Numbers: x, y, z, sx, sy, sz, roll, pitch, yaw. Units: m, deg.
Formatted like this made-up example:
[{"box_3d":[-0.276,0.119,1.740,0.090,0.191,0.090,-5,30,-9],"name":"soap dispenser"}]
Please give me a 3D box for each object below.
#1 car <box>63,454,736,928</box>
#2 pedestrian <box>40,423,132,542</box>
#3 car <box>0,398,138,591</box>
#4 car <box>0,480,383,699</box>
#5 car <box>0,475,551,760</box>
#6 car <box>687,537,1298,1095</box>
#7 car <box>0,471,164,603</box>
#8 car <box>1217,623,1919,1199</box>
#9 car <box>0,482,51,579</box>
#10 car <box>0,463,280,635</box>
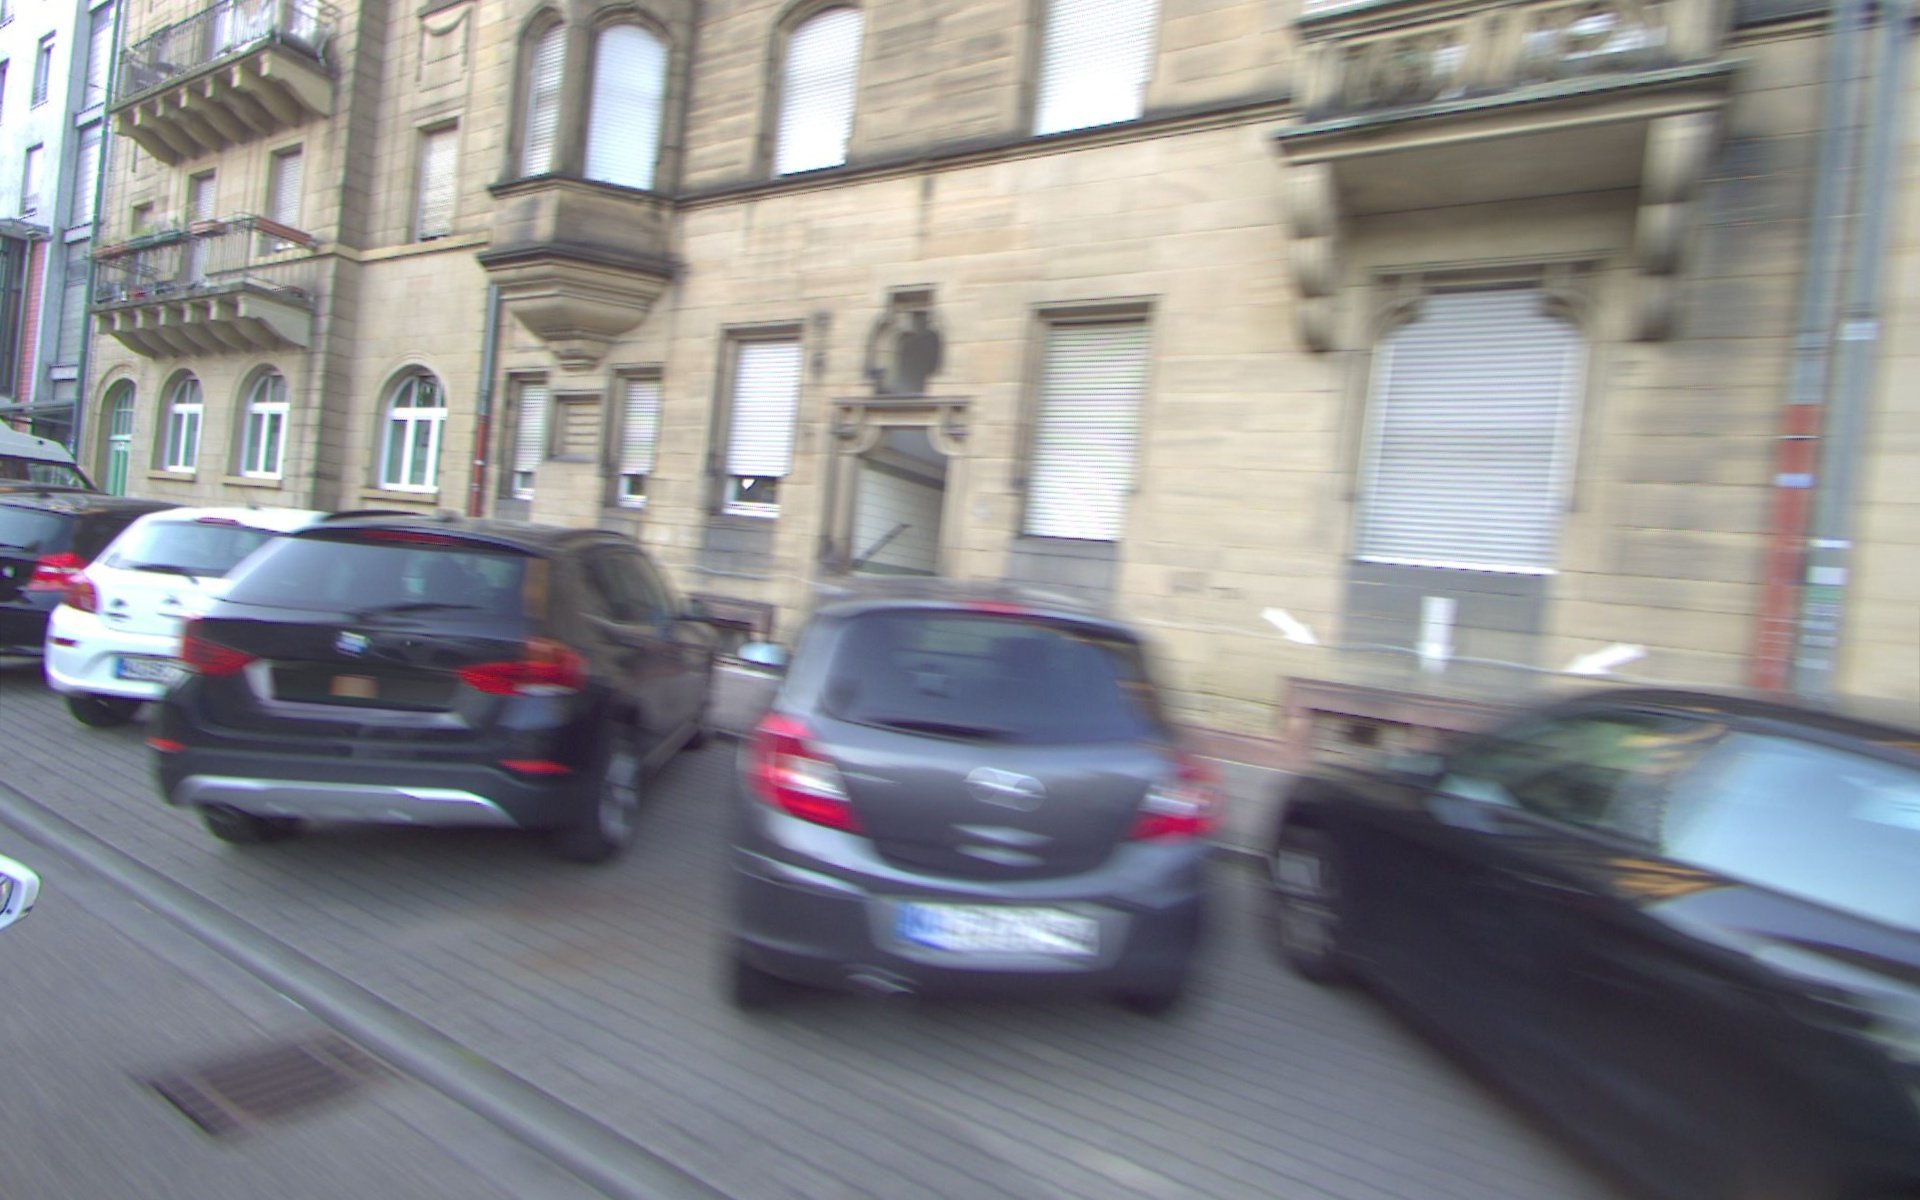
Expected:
[{"box_3d":[-2.521,0.299,5.775,1.784,1.629,4.092,5,2,-6],"name":"car"},{"box_3d":[-16.027,-2.165,18.454,0.844,2.028,0.610,8,-9,34],"name":"pedestrian"},{"box_3d":[-14.077,-1.559,13.480,1.882,2.578,4.727,6,0,3],"name":"car"},{"box_3d":[-7.132,-0.202,8.829,1.834,1.451,4.029,5,2,-2],"name":"car"},{"box_3d":[-4.863,0.051,7.910,1.722,1.518,4.052,5,2,-3],"name":"car"},{"box_3d":[-0.165,0.597,4.845,1.687,1.565,3.907,4,2,-9],"name":"car"},{"box_3d":[-11.926,-0.805,11.608,1.809,1.506,4.395,6,2,2],"name":"car"},{"box_3d":[2.428,0.978,2.921,1.842,1.466,3.908,4,2,-7],"name":"car"},{"box_3d":[-16.313,-1.248,14.670,1.877,1.521,4.358,7,0,4],"name":"car"},{"box_3d":[-9.491,-0.526,10.470,1.761,1.566,4.121,4,1,4],"name":"car"}]
